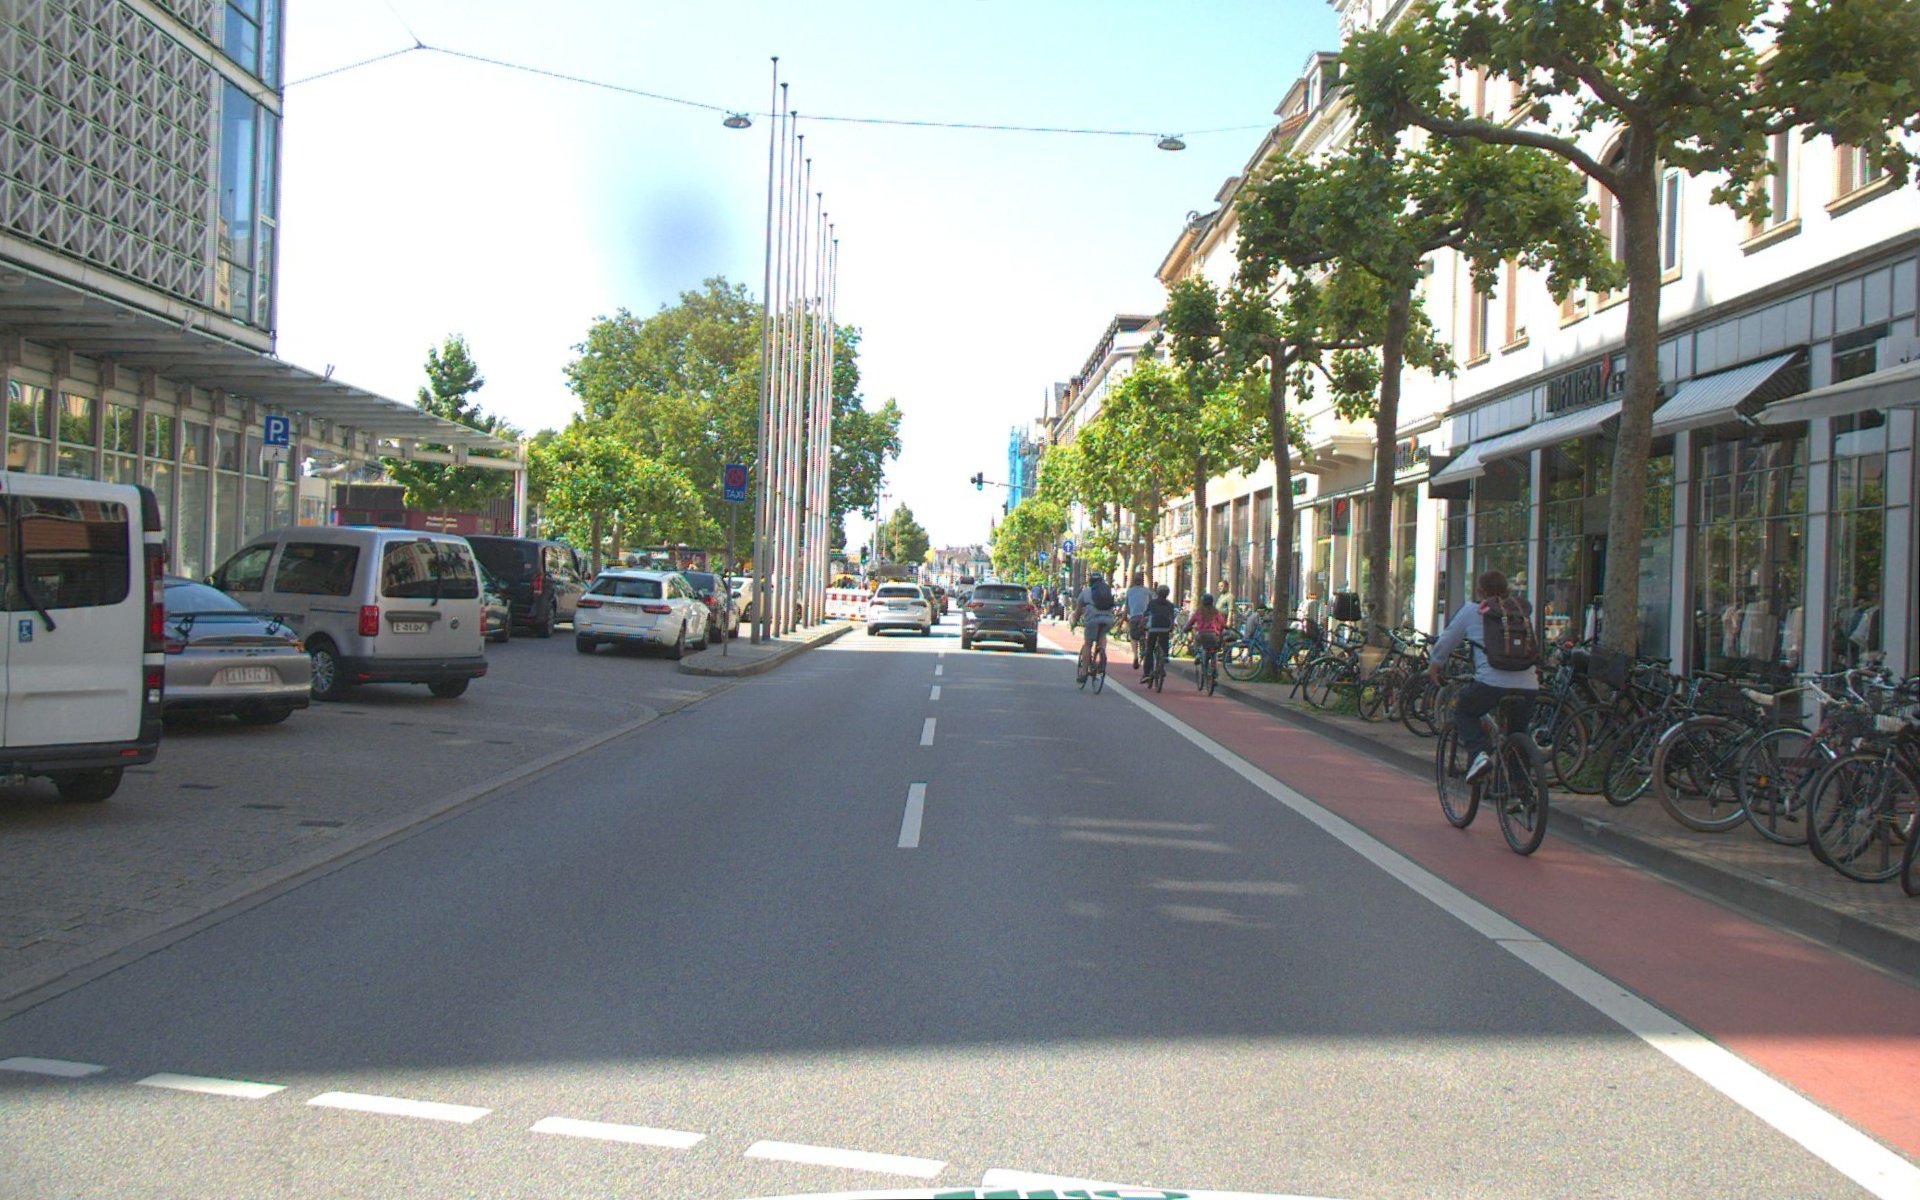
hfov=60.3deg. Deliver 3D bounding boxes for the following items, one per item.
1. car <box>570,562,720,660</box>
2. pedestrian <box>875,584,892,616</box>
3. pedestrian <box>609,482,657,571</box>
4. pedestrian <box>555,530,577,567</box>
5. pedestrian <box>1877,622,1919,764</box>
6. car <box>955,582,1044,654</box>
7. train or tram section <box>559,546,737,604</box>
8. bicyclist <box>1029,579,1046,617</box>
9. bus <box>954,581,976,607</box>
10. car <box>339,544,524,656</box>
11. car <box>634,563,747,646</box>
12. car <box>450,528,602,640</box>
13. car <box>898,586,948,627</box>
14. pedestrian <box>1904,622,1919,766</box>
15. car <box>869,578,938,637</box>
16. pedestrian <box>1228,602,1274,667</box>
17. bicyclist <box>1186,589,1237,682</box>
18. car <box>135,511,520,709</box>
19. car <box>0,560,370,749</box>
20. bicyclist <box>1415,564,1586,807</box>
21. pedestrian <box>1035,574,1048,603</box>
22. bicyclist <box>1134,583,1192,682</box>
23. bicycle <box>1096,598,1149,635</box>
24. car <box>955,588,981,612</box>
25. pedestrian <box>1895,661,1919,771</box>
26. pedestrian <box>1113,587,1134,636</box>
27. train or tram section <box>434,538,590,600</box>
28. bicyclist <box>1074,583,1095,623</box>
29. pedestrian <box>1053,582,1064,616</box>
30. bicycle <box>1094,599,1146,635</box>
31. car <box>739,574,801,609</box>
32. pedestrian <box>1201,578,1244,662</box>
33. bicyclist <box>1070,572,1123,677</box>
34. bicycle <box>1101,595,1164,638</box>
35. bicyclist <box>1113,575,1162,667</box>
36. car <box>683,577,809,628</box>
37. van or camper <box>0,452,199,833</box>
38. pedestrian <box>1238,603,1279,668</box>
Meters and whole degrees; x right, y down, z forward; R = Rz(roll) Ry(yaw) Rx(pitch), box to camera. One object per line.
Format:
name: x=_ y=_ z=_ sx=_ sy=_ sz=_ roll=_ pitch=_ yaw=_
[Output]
car: x=-5.639 y=0.148 z=30.164 sx=1.762 sy=1.549 sz=4.738 roll=3 pitch=1 yaw=0
pedestrian: x=-3.972 y=-0.007 z=86.296 sx=0.619 sy=1.623 sz=0.686 roll=2 pitch=-1 yaw=21
pedestrian: x=-6.863 y=-1.529 z=34.717 sx=0.608 sy=1.824 sz=0.690 roll=2 pitch=0 yaw=39
pedestrian: x=-19.446 y=-2.539 z=81.623 sx=0.593 sy=1.780 sz=0.802 roll=1 pitch=-2 yaw=31
pedestrian: x=9.537 y=0.912 z=16.298 sx=0.667 sy=1.356 sz=0.531 roll=2 pitch=0 yaw=-3
car: x=0.887 y=0.385 z=38.971 sx=1.809 sy=1.586 sz=3.998 roll=1 pitch=1 yaw=-3
train or tram section: x=-22.587 y=-1.738 z=121.509 sx=2.568 sy=3.741 sz=15.495 roll=2 pitch=0 yaw=34
bicyclist: x=3.317 y=-0.080 z=71.238 sx=0.634 sy=1.578 sz=0.817 roll=2 pitch=0 yaw=-1
bus: x=0.751 y=-0.837 z=245.857 sx=2.934 sy=3.657 sz=11.742 roll=2 pitch=0 yaw=-1
car: x=-8.809 y=-0.010 z=27.983 sx=1.955 sy=1.638 sz=4.396 roll=3 pitch=0 yaw=-5
car: x=-5.770 y=0.077 z=35.960 sx=1.725 sy=1.628 sz=4.709 roll=2 pitch=0 yaw=-1
car: x=-8.705 y=-0.327 z=33.606 sx=1.795 sy=2.049 sz=4.685 roll=2 pitch=0 yaw=0
car: x=-1.390 y=0.222 z=62.312 sx=1.808 sy=1.474 sz=3.999 roll=1 pitch=1 yaw=-1
pedestrian: x=9.462 y=0.905 z=15.700 sx=0.667 sy=1.361 sz=0.531 roll=1 pitch=0 yaw=-3
car: x=-1.565 y=0.187 z=47.060 sx=1.808 sy=1.587 sz=4.000 roll=1 pitch=1 yaw=0
pedestrian: x=5.884 y=0.700 z=33.459 sx=0.771 sy=1.265 sz=0.576 roll=3 pitch=-1 yaw=-3
bicyclist: x=3.900 y=0.542 z=25.701 sx=0.588 sy=1.381 sz=0.720 roll=3 pitch=1 yaw=-3
car: x=-7.191 y=0.041 z=18.647 sx=4.358 sy=1.942 sz=2.002 roll=3 pitch=1 yaw=36
car: x=-7.516 y=0.400 z=14.789 sx=4.207 sy=1.309 sz=1.966 roll=4 pitch=1 yaw=31
bicyclist: x=3.488 y=0.528 z=10.743 sx=0.684 sy=1.471 sz=0.960 roll=3 pitch=0 yaw=-4
pedestrian: x=4.382 y=-0.630 z=89.004 sx=0.597 sy=1.542 sz=0.677 roll=-2 pitch=0 yaw=-2
bicyclist: x=3.149 y=0.495 z=25.666 sx=0.684 sy=1.465 sz=0.790 roll=3 pitch=0 yaw=-4
bicycle: x=5.338 y=0.539 z=54.426 sx=1.692 sy=1.128 sz=0.402 roll=2 pitch=0 yaw=2
car: x=0.627 y=-0.017 z=126.132 sx=1.808 sy=1.697 sz=3.999 roll=3 pitch=0 yaw=-1
pedestrian: x=8.973 y=1.078 z=15.339 sx=0.334 sy=0.985 sz=0.437 roll=2 pitch=0 yaw=1
pedestrian: x=5.584 y=0.383 z=56.540 sx=0.602 sy=1.640 sz=0.745 roll=2 pitch=0 yaw=1
train or tram section: x=-29.856 y=-1.983 z=110.881 sx=2.568 sy=3.741 sz=10.964 roll=2 pitch=0 yaw=34
bicyclist: x=5.694 y=0.143 z=75.789 sx=0.568 sy=1.828 sz=0.846 roll=-1 pitch=0 yaw=-35
pedestrian: x=4.855 y=-0.037 z=81.573 sx=0.537 sy=1.659 sz=0.589 roll=1 pitch=-1 yaw=3
bicycle: x=5.343 y=0.580 z=55.259 sx=1.692 sy=1.128 sz=0.477 roll=2 pitch=0 yaw=2
car: x=-11.850 y=-0.510 z=103.468 sx=1.821 sy=1.989 sz=4.761 roll=2 pitch=0 yaw=20
pedestrian: x=5.566 y=0.409 z=35.127 sx=0.626 sy=1.718 sz=0.843 roll=4 pitch=1 yaw=-3
bicyclist: x=2.019 y=0.356 z=24.543 sx=0.617 sy=1.507 sz=1.198 roll=2 pitch=0 yaw=-1
bicycle: x=5.429 y=0.517 z=52.093 sx=1.891 sy=1.270 sz=0.736 roll=2 pitch=0 yaw=2
bicyclist: x=3.270 y=0.376 z=30.518 sx=0.758 sy=1.664 sz=0.851 roll=1 pitch=0 yaw=0
car: x=-7.247 y=0.079 z=56.541 sx=1.854 sy=1.568 sz=4.857 roll=3 pitch=1 yaw=26
van or camper: x=-6.883 y=0.102 z=10.364 sx=4.574 sy=2.048 sz=1.990 roll=4 pitch=1 yaw=39
pedestrian: x=5.931 y=0.703 z=32.863 sx=0.626 sy=1.254 sz=0.596 roll=3 pitch=-1 yaw=-3
